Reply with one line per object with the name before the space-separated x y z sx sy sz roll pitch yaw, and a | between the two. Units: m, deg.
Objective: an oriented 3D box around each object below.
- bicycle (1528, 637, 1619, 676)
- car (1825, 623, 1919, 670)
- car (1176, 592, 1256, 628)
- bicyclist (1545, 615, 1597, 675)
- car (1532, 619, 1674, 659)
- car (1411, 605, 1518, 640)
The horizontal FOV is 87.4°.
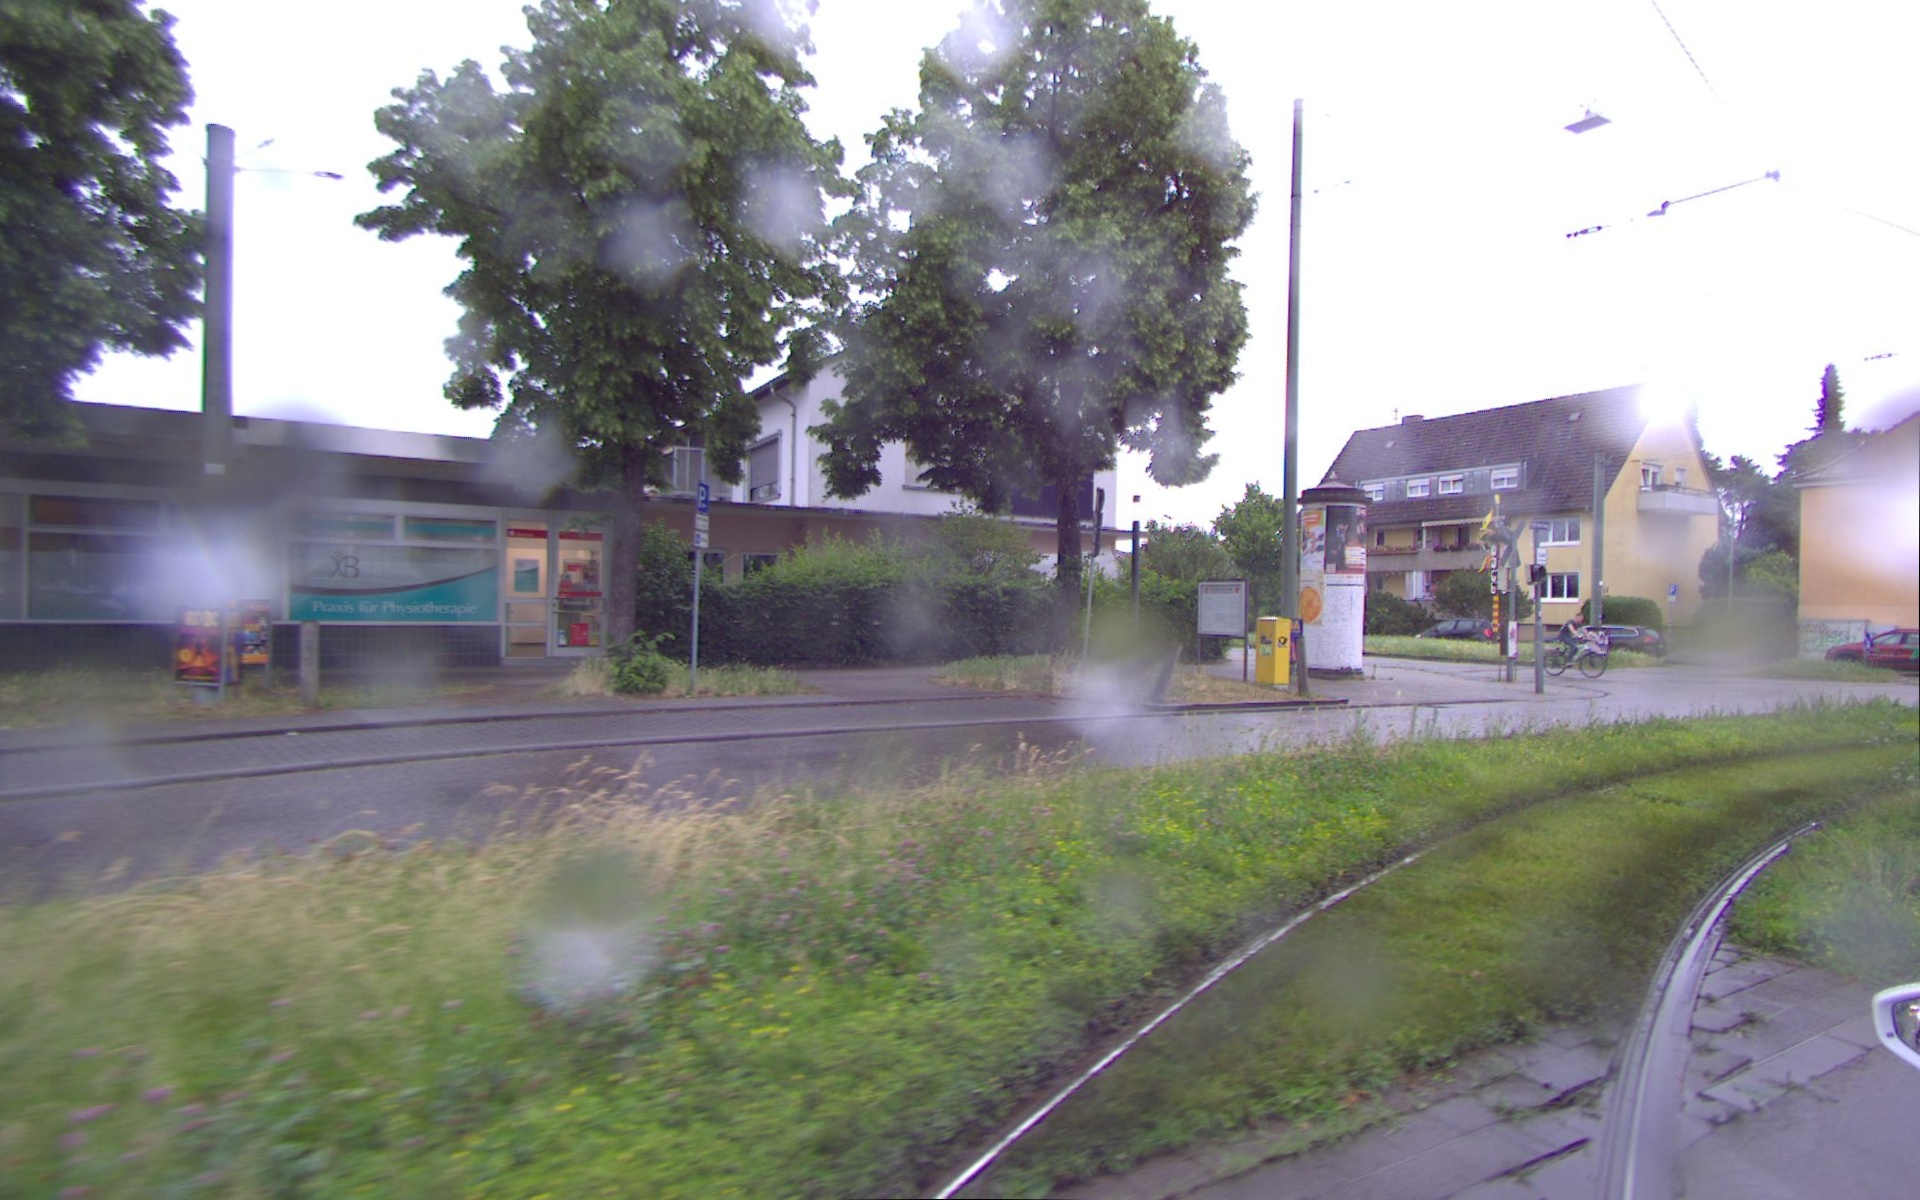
bicycle | 16.870 1.538 27.658 0.815 0.924 1.967 2 0 -33
car | 31.095 1.544 33.081 1.704 1.357 3.583 1 2 -33
car | 14.336 0.557 56.443 1.982 1.818 3.956 1 2 -38
bicyclist | 16.851 1.233 27.709 0.825 1.579 0.905 2 0 -33
car | 25.881 1.527 40.580 1.946 1.414 4.465 1 0 -32
car | 22.746 1.007 45.427 1.741 1.350 3.962 1 2 -33
